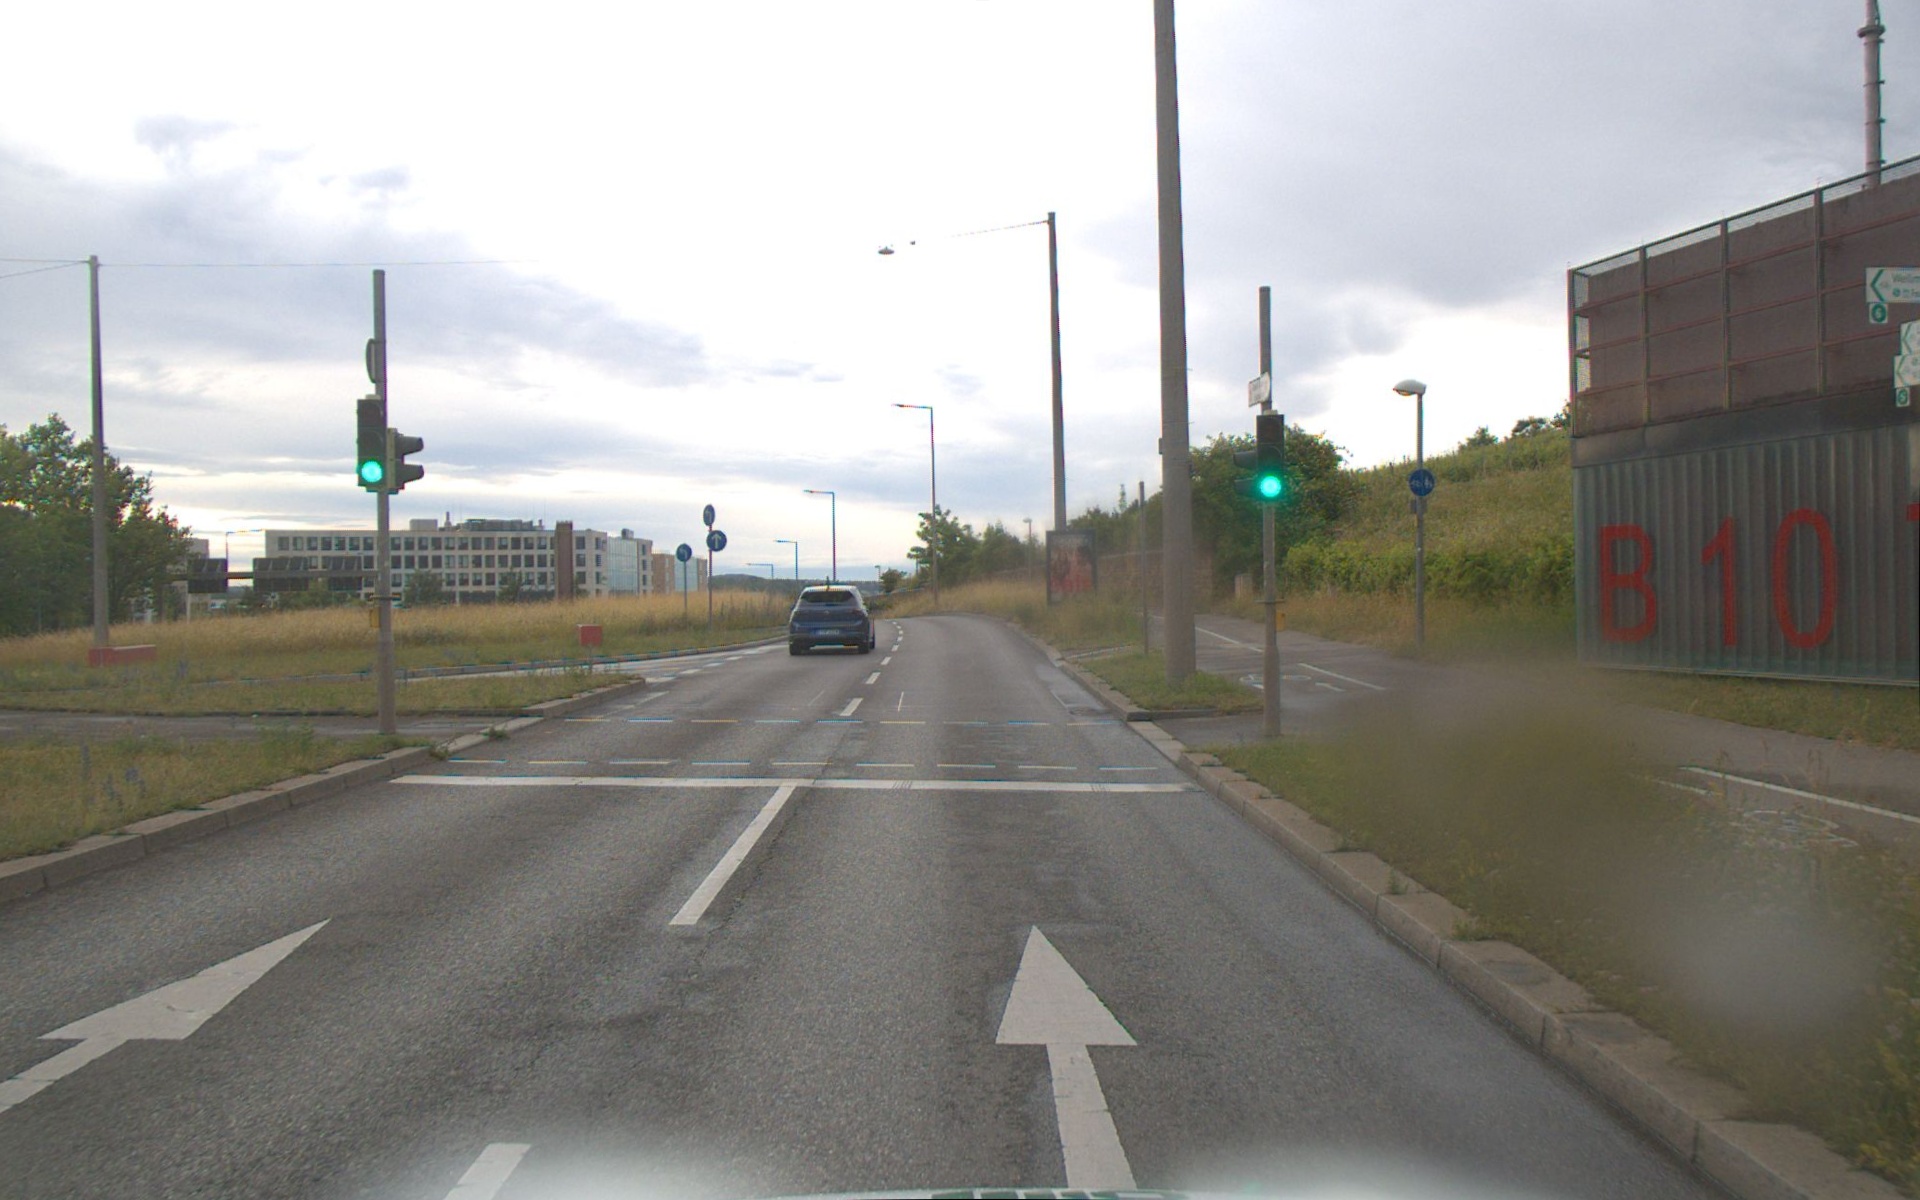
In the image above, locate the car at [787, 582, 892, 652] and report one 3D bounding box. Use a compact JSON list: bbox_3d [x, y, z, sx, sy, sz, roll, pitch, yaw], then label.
[{"bbox_3d":[-2.613,0.368,36.760,1.799,1.418,4.001,-1,0,3],"label":"car"}]
